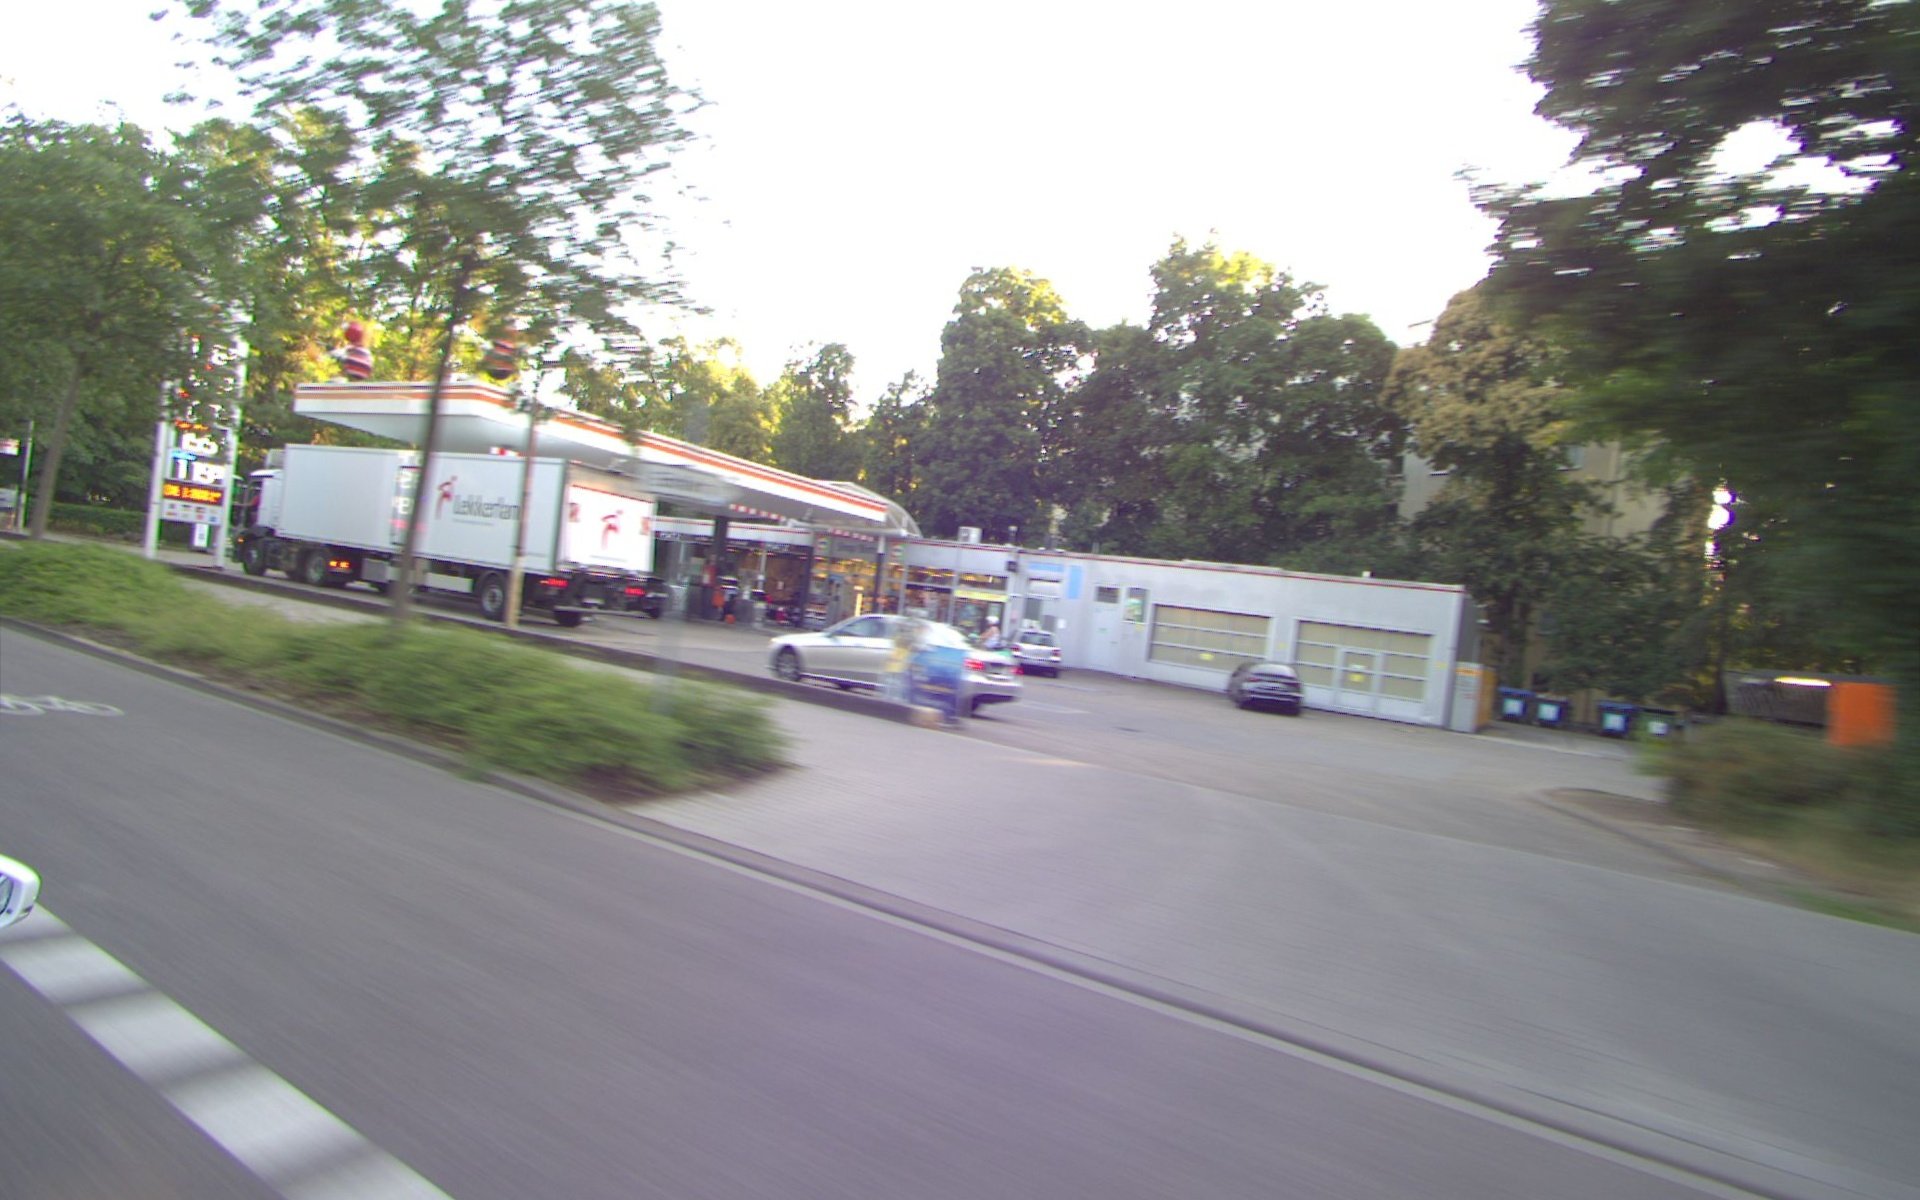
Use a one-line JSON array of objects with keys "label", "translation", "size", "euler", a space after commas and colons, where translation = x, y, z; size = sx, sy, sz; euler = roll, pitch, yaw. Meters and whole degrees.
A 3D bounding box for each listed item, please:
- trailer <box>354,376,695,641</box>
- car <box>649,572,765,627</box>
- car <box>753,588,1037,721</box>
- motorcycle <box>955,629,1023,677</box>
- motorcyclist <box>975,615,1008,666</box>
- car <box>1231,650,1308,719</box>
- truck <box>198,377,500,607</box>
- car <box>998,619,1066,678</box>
[{"label": "trailer", "translation": [-10.782, -2.305, 24.681], "size": [7.797, 5.528, 3.026], "euler": [7, 0, 29]}, {"label": "car", "translation": [-10.374, -0.020, 41.113], "size": [4.549, 1.601, 1.990], "euler": [7, -2, 35]}, {"label": "car", "translation": [-1.232, 0.912, 17.563], "size": [4.743, 1.601, 1.772], "euler": [7, -2, 35]}, {"label": "motorcycle", "translation": [0.864, 1.582, 30.010], "size": [1.829, 1.194, 0.624], "euler": [7, 0, 21]}, {"label": "motorcyclist", "translation": [0.938, 1.212, 29.990], "size": [0.684, 1.452, 0.611], "euler": [6, 0, 21]}, {"label": "car", "translation": [8.802, 2.347, 28.905], "size": [1.641, 1.541, 4.132], "euler": [6, 0, 12]}, {"label": "truck", "translation": [-17.266, -3.107, 28.283], "size": [8.265, 5.521, 3.040], "euler": [7, 0, 29]}, {"label": "car", "translation": [2.303, 1.550, 33.154], "size": [1.642, 1.541, 4.129], "euler": [6, 0, -2]}]
